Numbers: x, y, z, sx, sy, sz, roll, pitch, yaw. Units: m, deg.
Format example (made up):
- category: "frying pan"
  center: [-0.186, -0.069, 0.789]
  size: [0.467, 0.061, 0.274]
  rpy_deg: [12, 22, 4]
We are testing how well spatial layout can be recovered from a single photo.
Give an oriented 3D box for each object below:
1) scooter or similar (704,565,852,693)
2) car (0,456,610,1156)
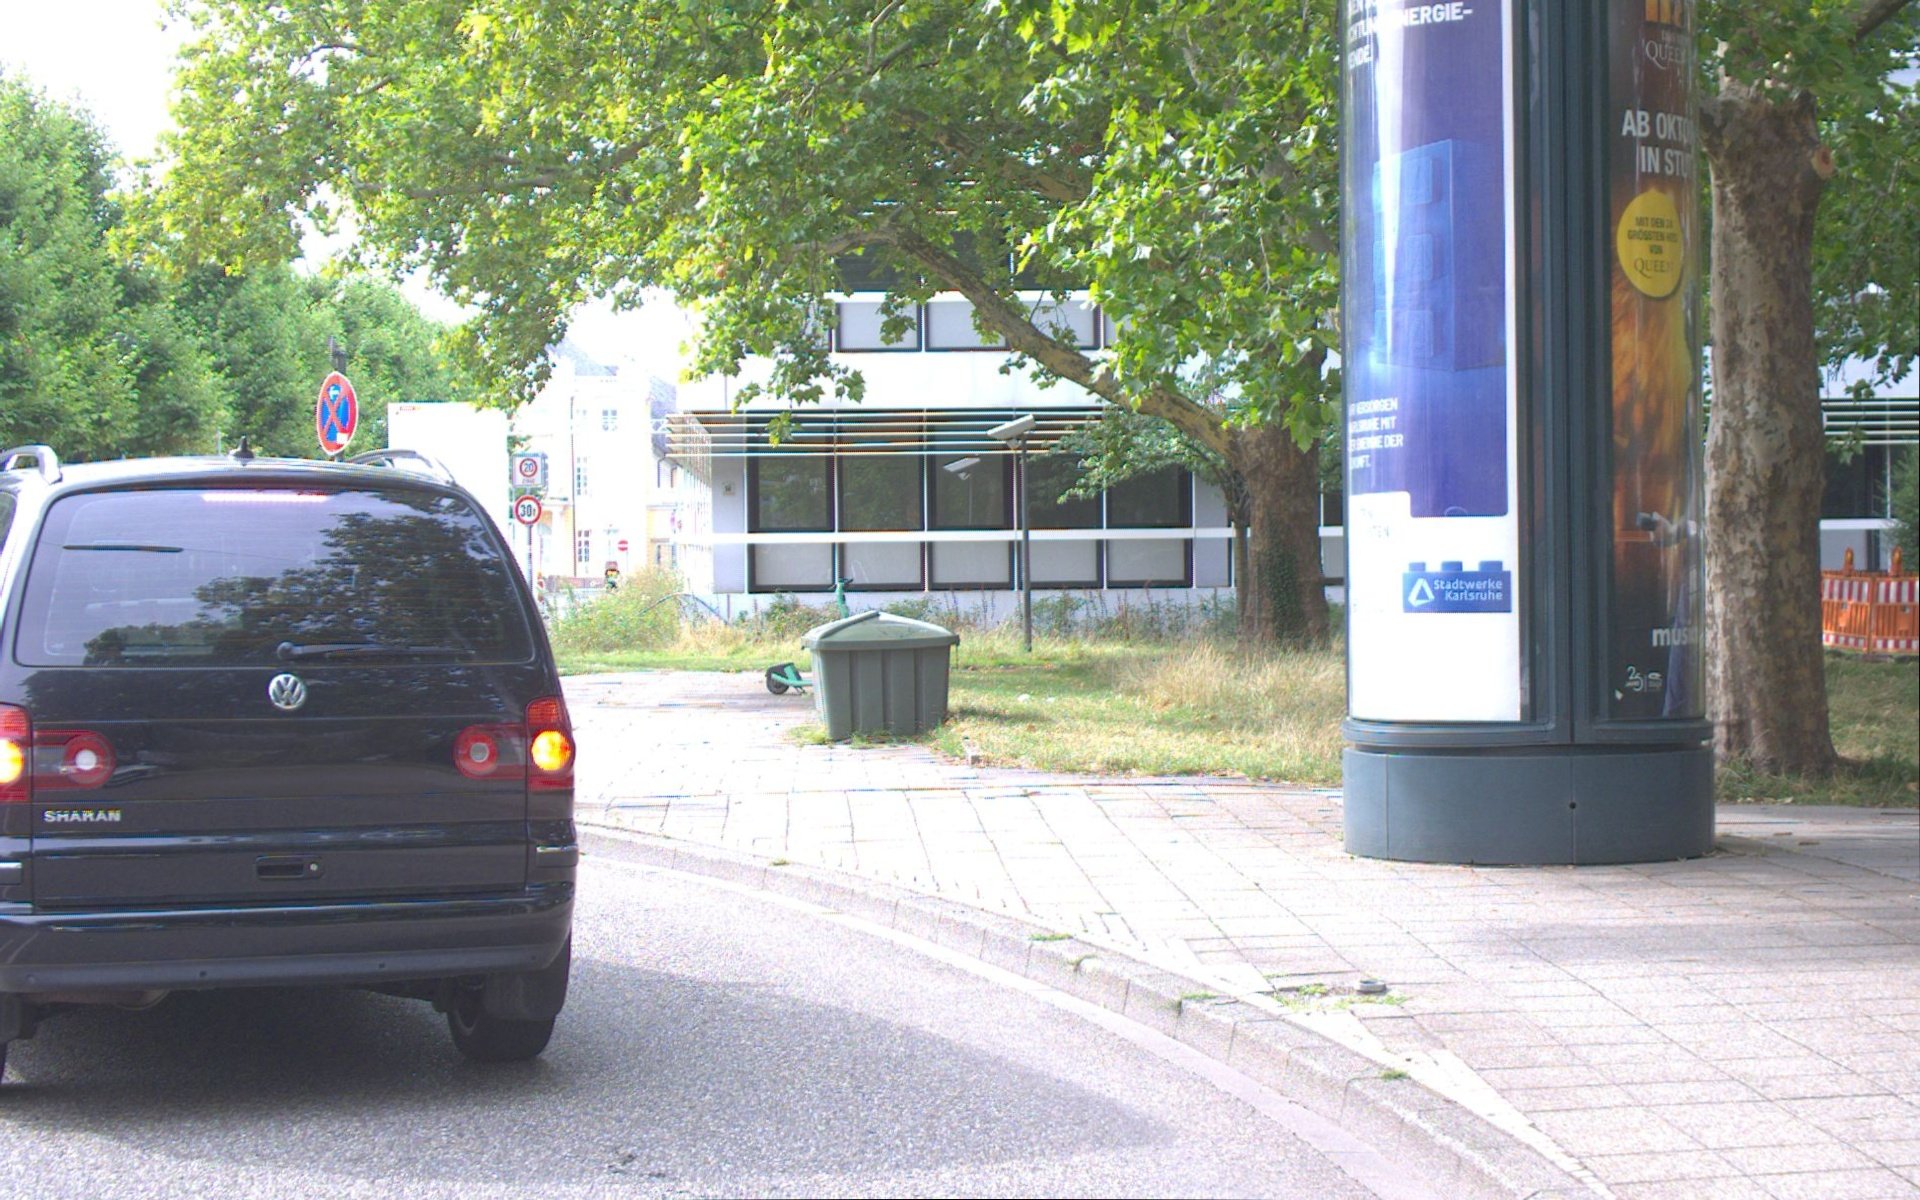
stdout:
- category: "scooter or similar"
  center: [-1.854, 0.288, 34.985]
  size: [1.449, 1.264, 0.570]
  rpy_deg: [1, 1, -6]
- category: "car"
  center: [-2.456, 0.466, 10.540]
  size: [1.793, 1.702, 4.132]
  rpy_deg: [-1, 1, -20]
